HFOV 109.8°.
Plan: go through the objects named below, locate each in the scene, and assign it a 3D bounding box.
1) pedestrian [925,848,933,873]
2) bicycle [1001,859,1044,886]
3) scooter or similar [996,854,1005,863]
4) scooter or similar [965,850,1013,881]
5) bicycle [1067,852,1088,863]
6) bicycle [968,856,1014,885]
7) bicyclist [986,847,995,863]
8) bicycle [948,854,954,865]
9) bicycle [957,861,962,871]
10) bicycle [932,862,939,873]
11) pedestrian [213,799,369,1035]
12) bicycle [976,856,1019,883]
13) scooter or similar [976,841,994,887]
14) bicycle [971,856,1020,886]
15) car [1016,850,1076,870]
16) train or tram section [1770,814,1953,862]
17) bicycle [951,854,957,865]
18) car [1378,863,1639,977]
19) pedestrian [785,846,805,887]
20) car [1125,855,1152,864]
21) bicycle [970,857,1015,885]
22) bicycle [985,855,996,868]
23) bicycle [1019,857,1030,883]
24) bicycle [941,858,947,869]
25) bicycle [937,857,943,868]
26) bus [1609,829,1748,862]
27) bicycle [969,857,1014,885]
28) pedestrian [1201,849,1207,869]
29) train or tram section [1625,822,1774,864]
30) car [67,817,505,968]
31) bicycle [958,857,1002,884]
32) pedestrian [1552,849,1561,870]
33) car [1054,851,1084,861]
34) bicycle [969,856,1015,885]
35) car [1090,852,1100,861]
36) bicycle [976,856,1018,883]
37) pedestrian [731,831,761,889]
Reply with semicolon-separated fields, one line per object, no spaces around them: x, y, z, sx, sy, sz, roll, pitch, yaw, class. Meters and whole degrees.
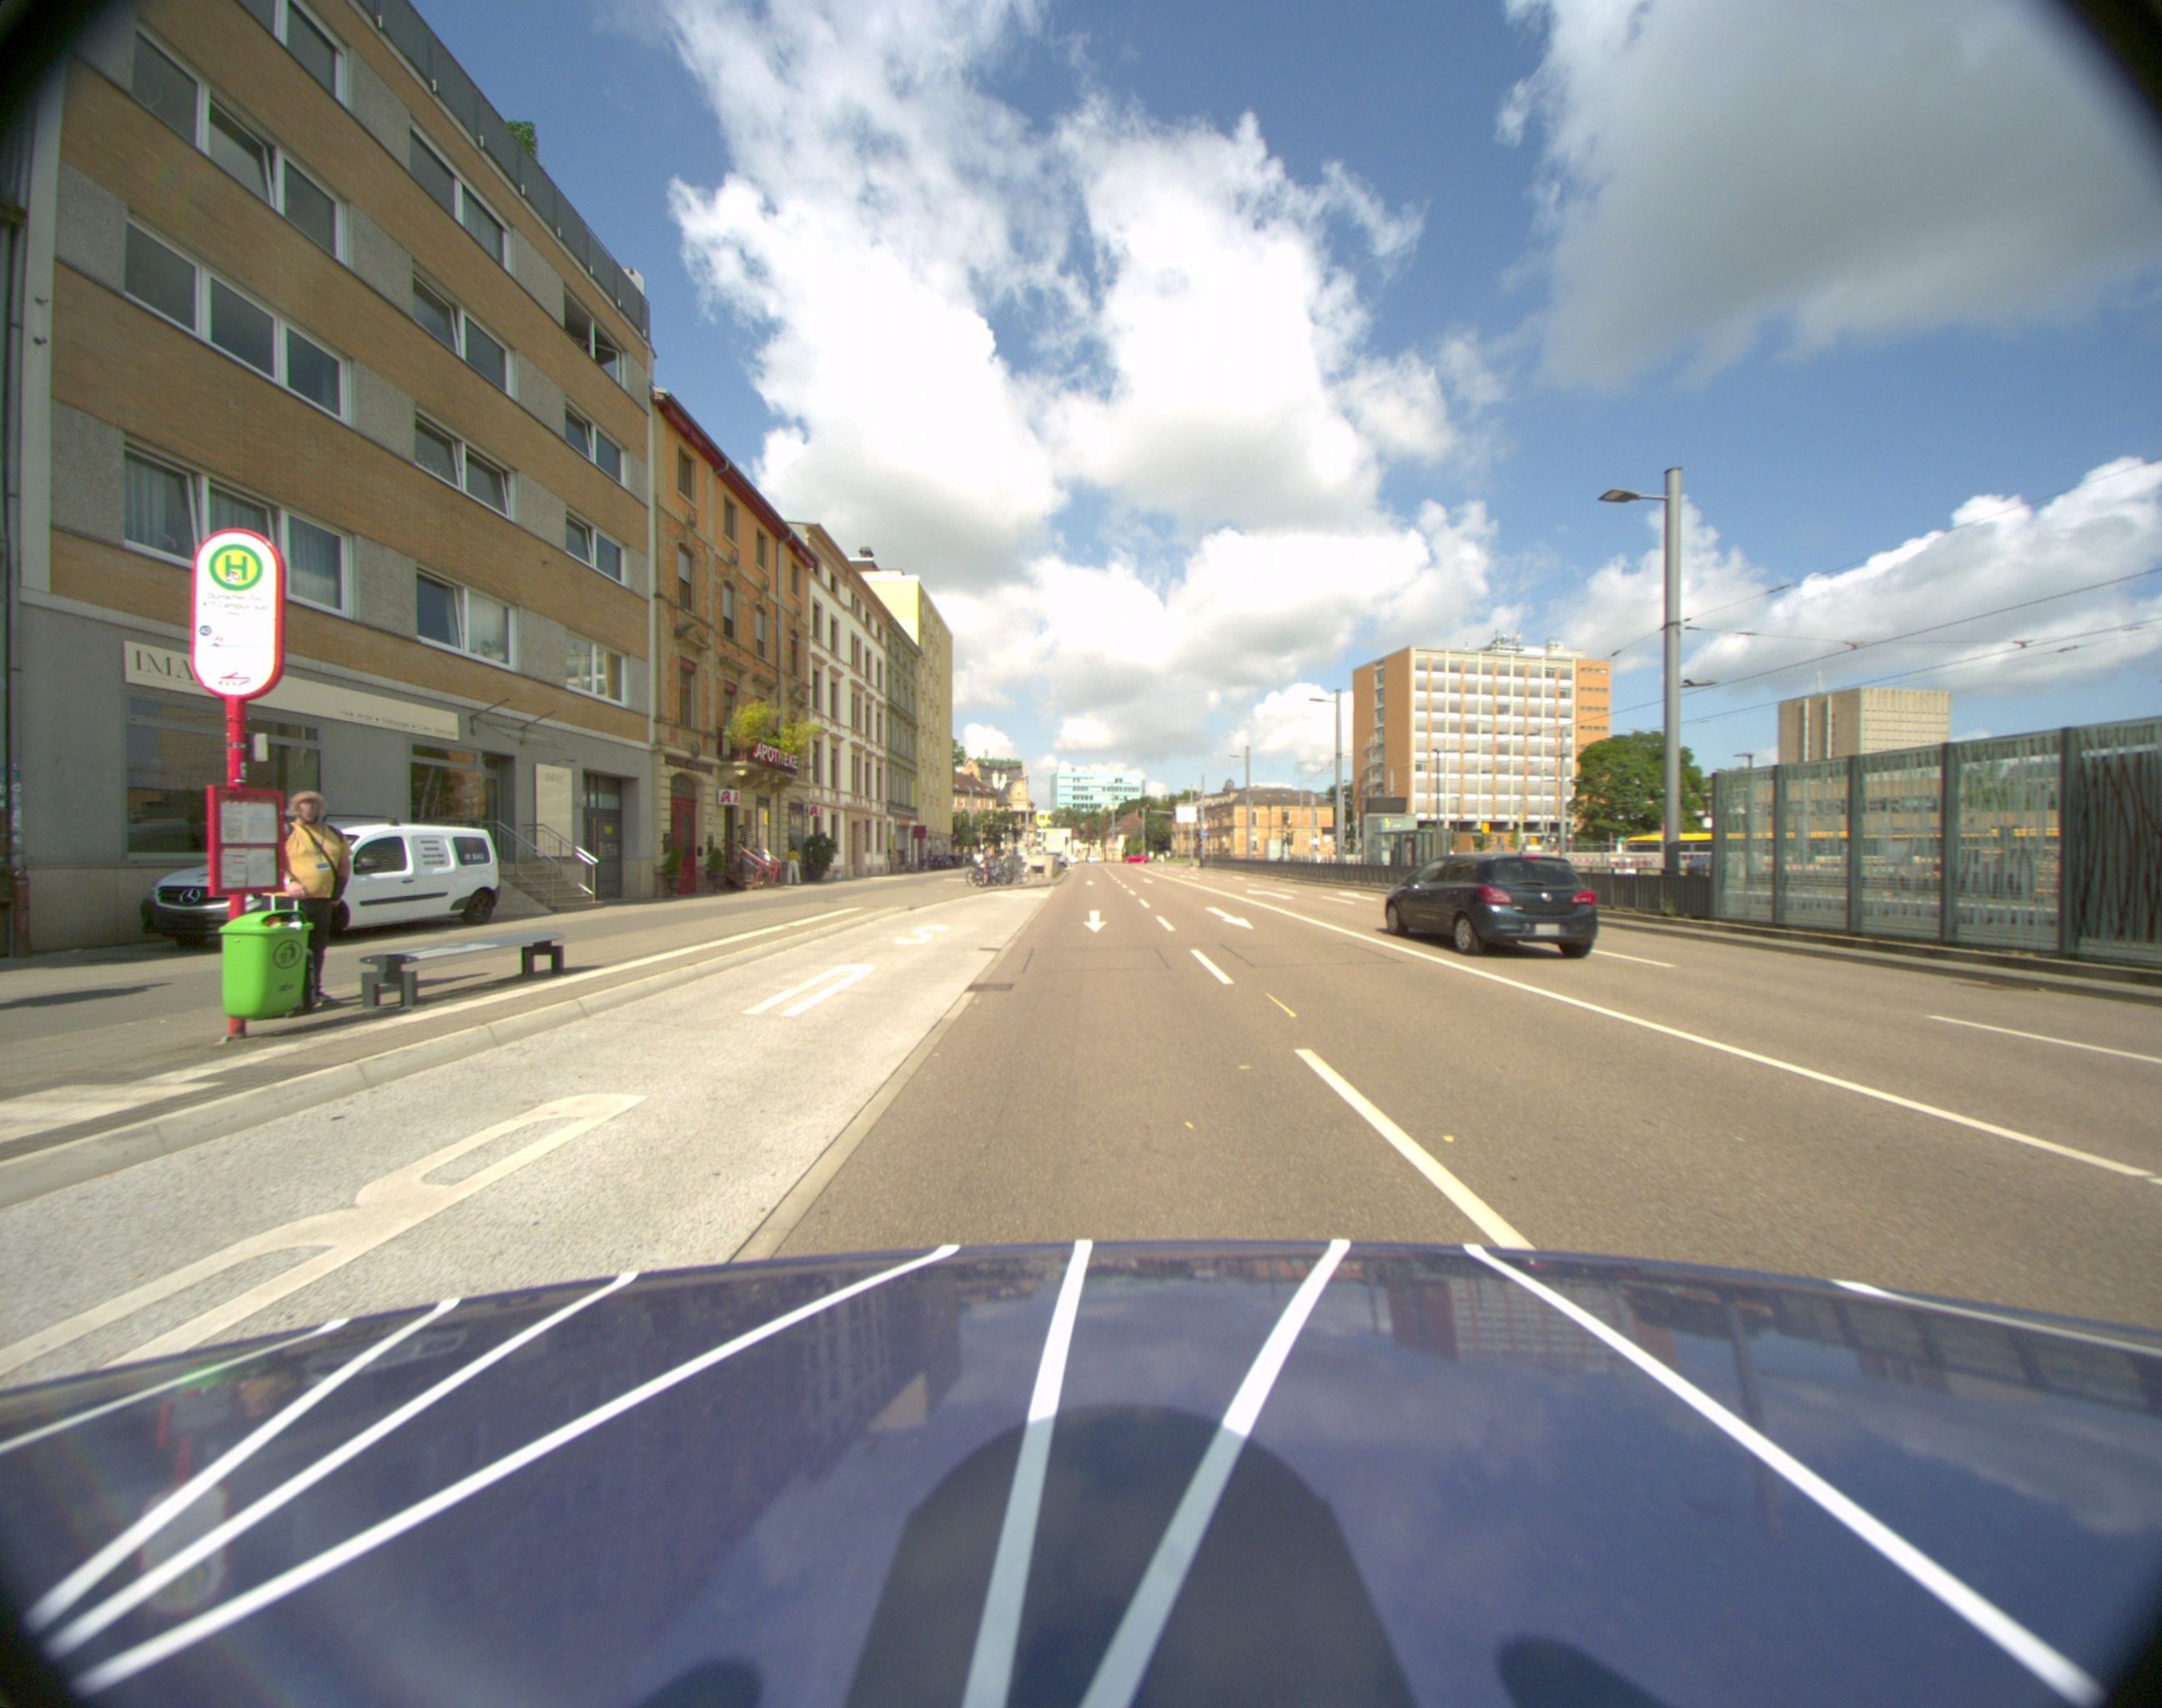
-12.170;0.534;60.846;0.603;2.001;0.460;0;-1;1;pedestrian
-2.649;0.847;34.446;1.931;1.230;0.441;0;-2;-11;bicycle
-10.776;0.597;101.788;1.067;1.189;0.380;1;-2;-36;scooter or similar
-4.700;0.609;38.902;2.329;1.536;0.698;0;-2;6;scooter or similar
-0.329;0.376;77.755;2.098;1.099;0.544;0;-2;4;bicycle
-3.790;0.701;32.016;1.930;1.230;0.441;0;-2;-7;bicycle
-8.315;0.079;69.744;0.655;1.429;0.743;0;1;1;bicyclist
-11.439;0.499;66.891;0.293;0.917;1.464;0;-1;-2;bicycle
-11.838;1.184;74.061;0.293;0.878;1.464;0;1;-2;bicycle
-12.331;1.157;64.368;0.293;0.917;1.464;0;-1;-2;bicycle
-6.751;0.508;6.537;0.665;1.892;0.693;0;1;-18;pedestrian
-3.902;0.714;35.480;1.928;1.230;0.441;0;-2;3;bicycle
-3.779;0.394;29.907;0.398;1.776;1.538;0;0;4;scooter or similar
-3.526;0.717;31.404;1.985;1.230;0.441;0;-2;-11;bicycle
-2.811;0.459;62.138;4.605;1.637;2.056;0;1;-42;car
65.601;-1.211;64.344;10.579;3.459;3.332;-2;-3;44;train or tram section
-11.464;0.497;68.690;0.293;0.917;1.464;0;0;1;bicycle
6.243;0.869;11.669;1.920;1.409;3.741;0;0;1;car
-12.034;0.524;32.012;0.580;1.687;0.612;0;-2;1;pedestrian
9.350;0.896;122.953;4.057;1.458;1.649;-1;-2;15;car
-3.921;0.740;33.666;1.931;1.230;0.441;0;-2;-10;bicycle
-8.296;0.667;69.631;0.663;1.114;2.332;0;0;1;bicycle
-2.750;0.769;36.874;0.441;1.230;1.930;0;-2;-7;bicycle
-11.558;0.767;64.171;0.293;0.917;1.464;0;-1;-2;bicycle
-11.968;0.754;64.377;0.293;0.917;1.464;0;-1;-2;bicycle
67.661;-0.952;86.349;12.355;3.599;2.919;0;0;13;bus
-3.887;0.736;33.128;1.931;1.230;0.441;0;-2;-10;bicycle
12.336;0.462;76.231;0.503;2.002;0.515;0;0;-11;pedestrian
58.089;-0.887;71.708;10.579;3.459;3.332;-2;-3;44;train or tram section
-11.575;0.443;11.751;1.999;1.851;4.750;0;1;-5;car
-4.590;0.754;34.509;1.931;1.230;0.441;0;-2;-12;bicycle
39.697;0.455;63.420;0.561;1.783;0.722;1;1;43;pedestrian
-2.010;0.344;126.108;4.665;1.420;1.766;-1;-2;16;car
-3.818;0.715;32.561;1.930;1.230;0.441;0;-2;-5;bicycle
2.746;0.486;150.217;1.956;1.586;4.507;0;-2;-1;car
-3.971;0.733;36.034;1.928;1.230;0.441;0;-2;3;bicycle
-12.195;0.241;27.642;0.723;2.086;0.786;0;-2;1;pedestrian
